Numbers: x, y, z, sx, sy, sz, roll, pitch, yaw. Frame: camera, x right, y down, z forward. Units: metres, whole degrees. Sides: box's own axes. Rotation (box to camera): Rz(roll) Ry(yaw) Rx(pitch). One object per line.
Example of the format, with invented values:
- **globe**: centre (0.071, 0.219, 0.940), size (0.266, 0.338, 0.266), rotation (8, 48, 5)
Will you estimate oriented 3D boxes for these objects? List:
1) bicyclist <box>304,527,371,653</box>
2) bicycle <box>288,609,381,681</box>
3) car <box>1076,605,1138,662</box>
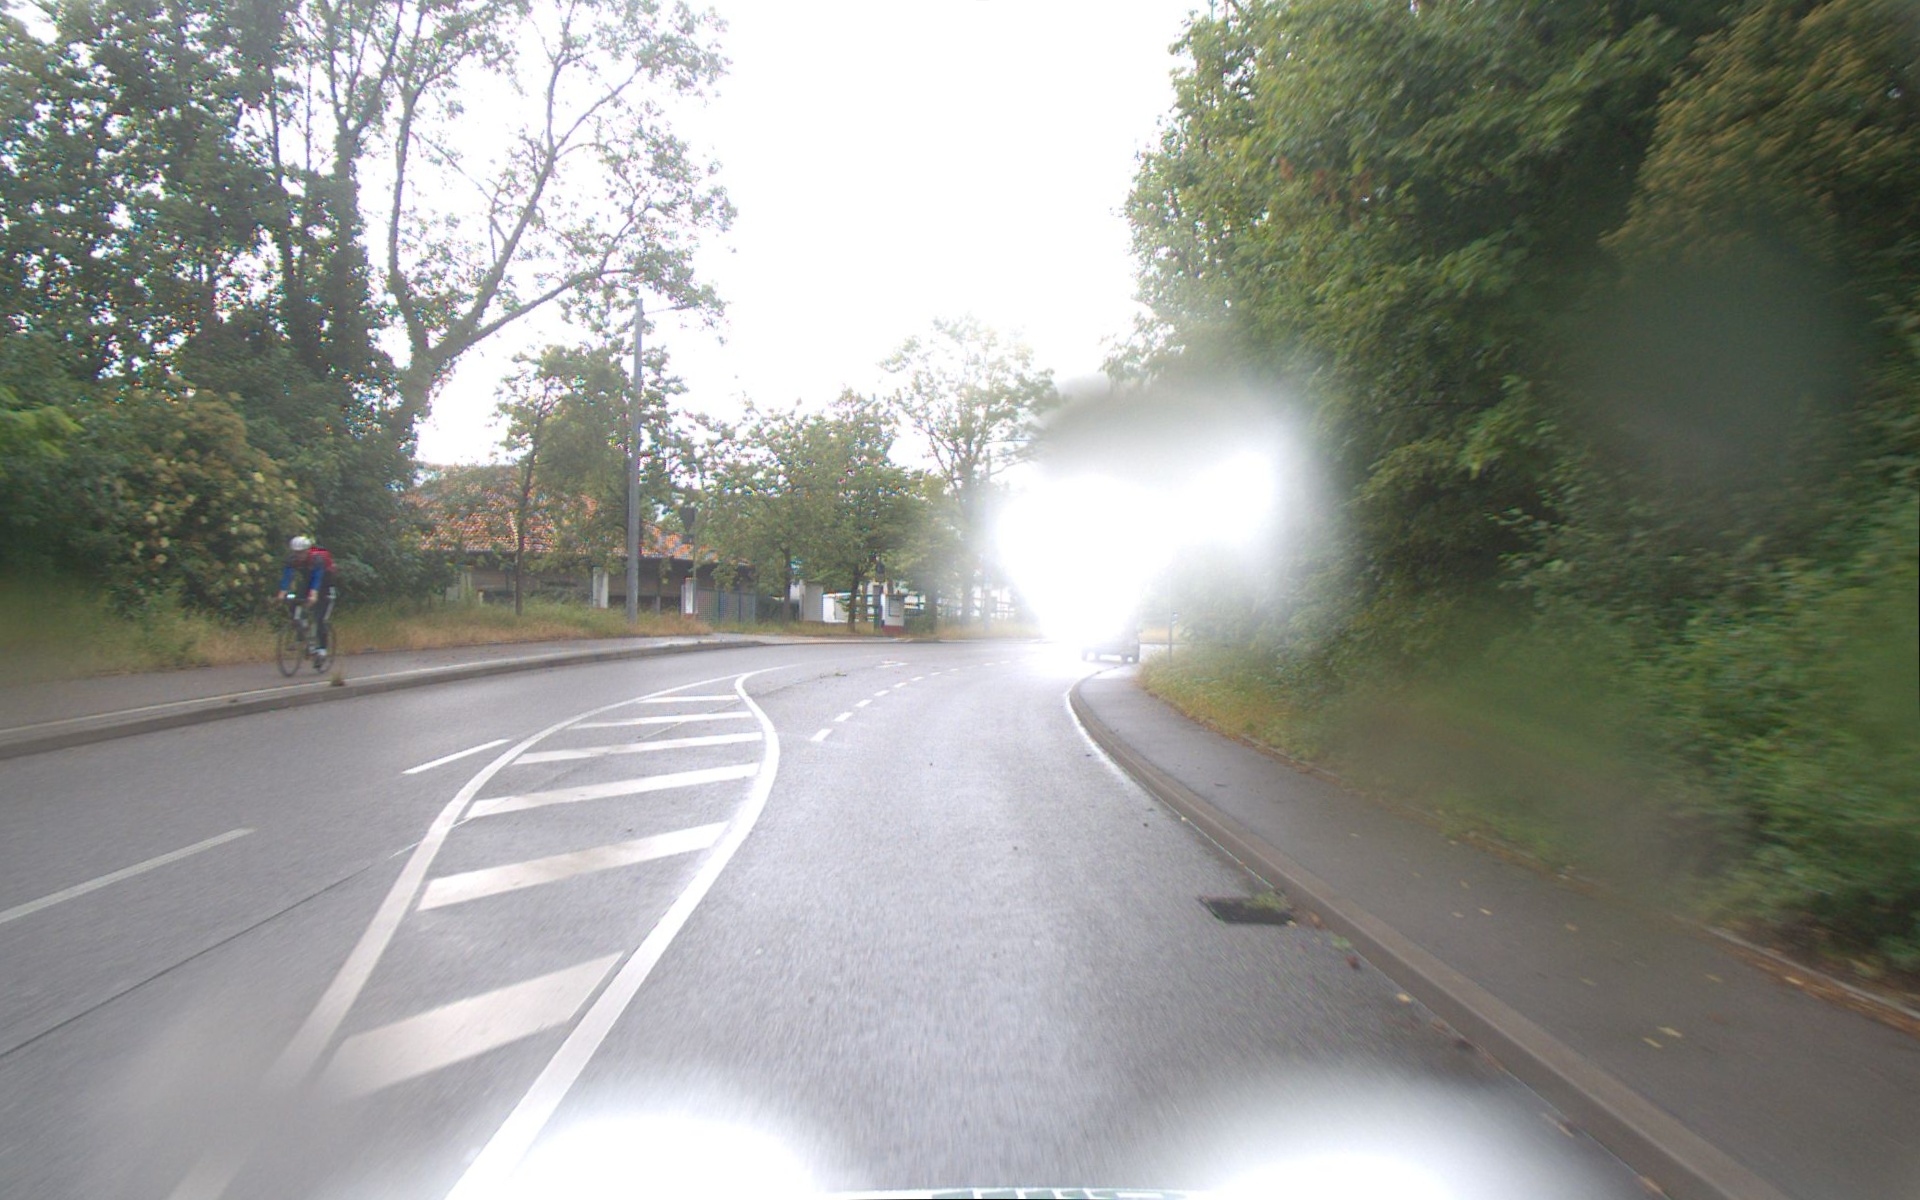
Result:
- **bicyclist**: centre (-8.183, -0.131, 21.773), size (0.329, 1.602, 1.298), rotation (1, 0, 2)
- **bicycle**: centre (-8.198, 0.572, 21.759), size (0.348, 0.864, 2.094), rotation (2, 1, 2)
- **car**: centre (5.146, 1.194, 57.480), size (1.788, 1.825, 4.003), rotation (-3, -2, 9)
